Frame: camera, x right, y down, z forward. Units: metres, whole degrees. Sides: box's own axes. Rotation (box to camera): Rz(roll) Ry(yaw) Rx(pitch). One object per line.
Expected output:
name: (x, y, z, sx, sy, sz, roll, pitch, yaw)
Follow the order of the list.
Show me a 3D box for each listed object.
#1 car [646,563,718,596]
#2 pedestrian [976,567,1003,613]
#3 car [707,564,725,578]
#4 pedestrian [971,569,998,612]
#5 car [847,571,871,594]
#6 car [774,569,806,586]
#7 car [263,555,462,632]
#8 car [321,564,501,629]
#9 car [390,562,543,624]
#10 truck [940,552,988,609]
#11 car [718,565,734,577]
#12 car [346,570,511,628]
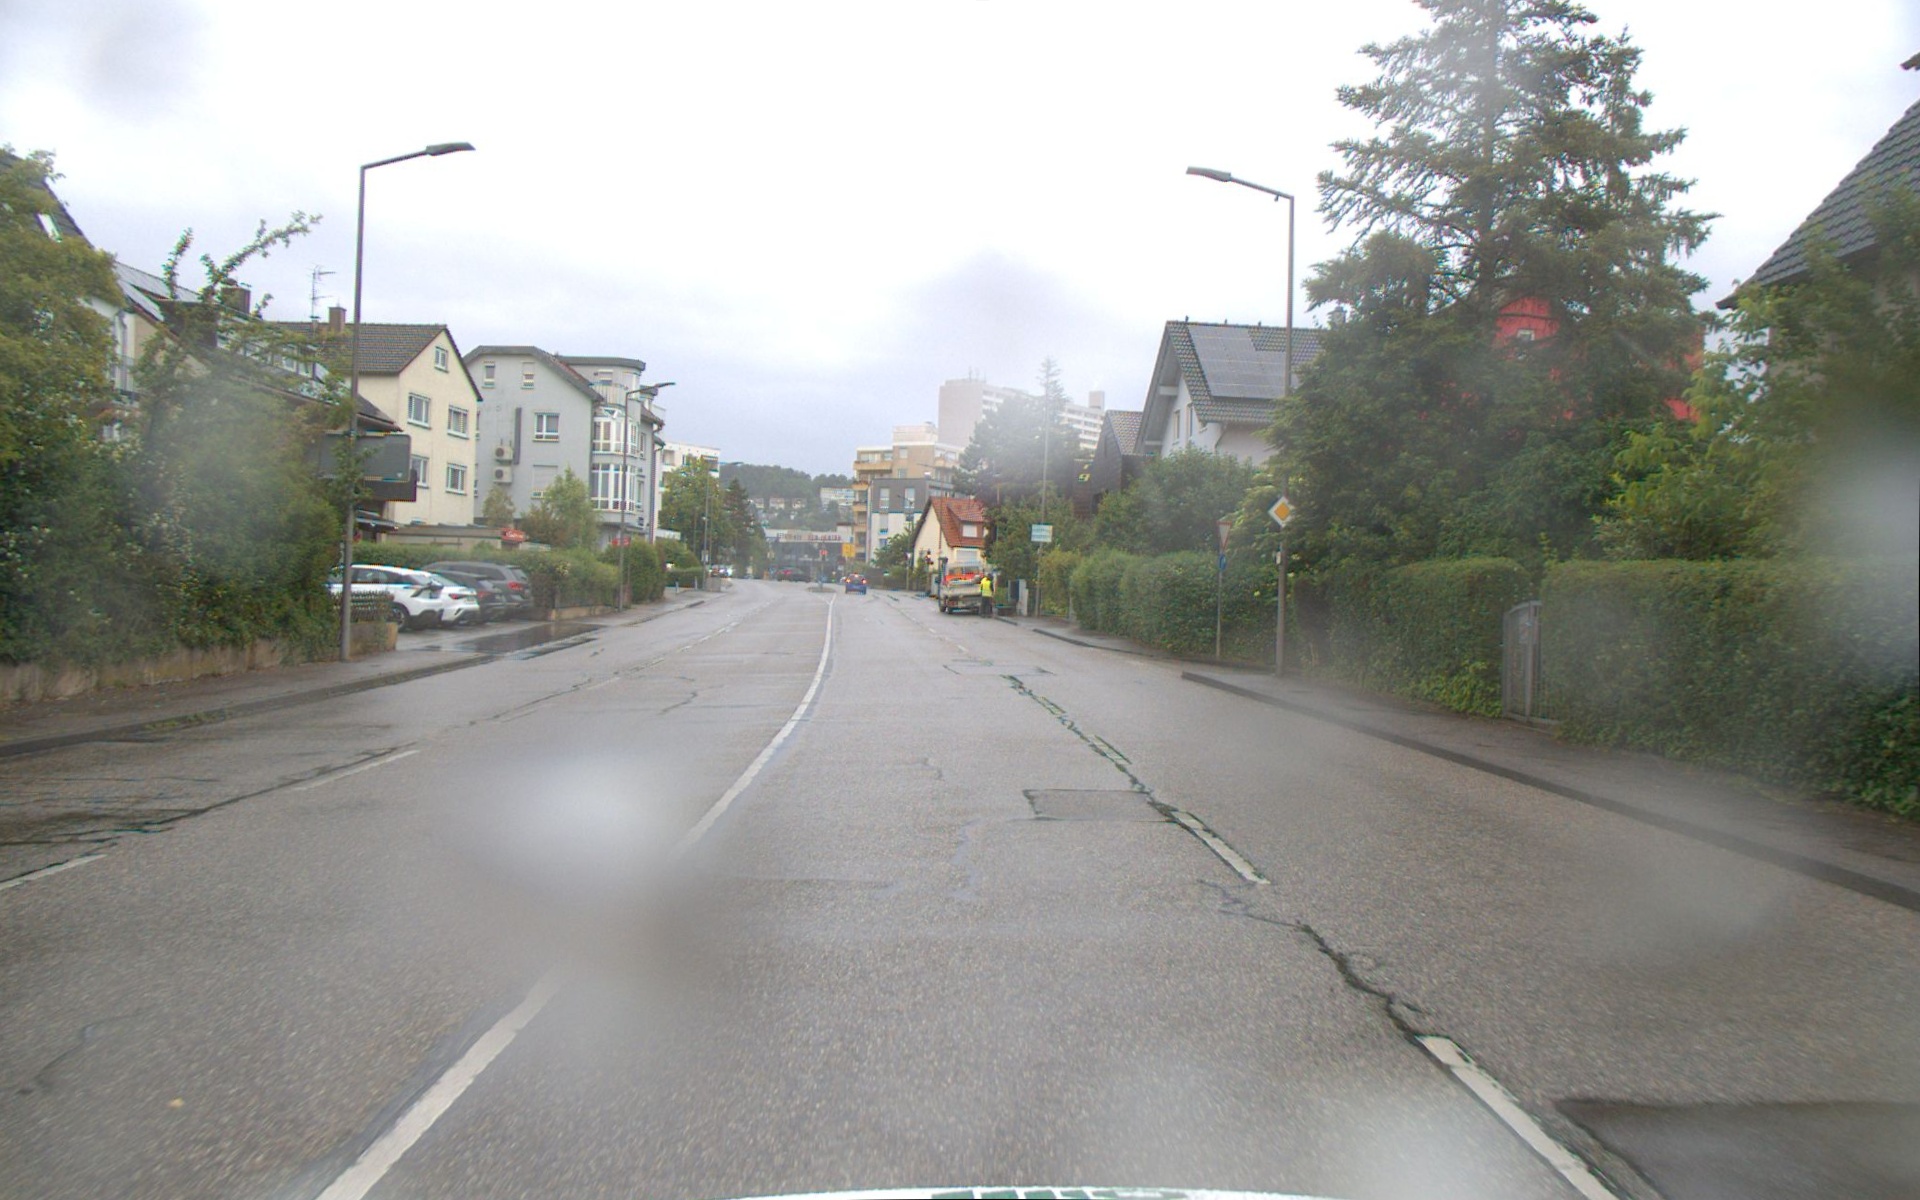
car: (-19.316, -1.432, 114.863, 4.426, 2.048, 2.002, 3, 0, 10)
pedestrian: (1.189, -0.418, 66.886, 0.811, 1.828, 0.795, 1, 0, -22)
car: (-26.953, -3.205, 183.057, 1.627, 1.488, 3.997, 1, 0, -4)
pedestrian: (1.001, -0.388, 67.818, 0.811, 1.756, 0.836, 1, 0, -21)
car: (-7.718, -1.350, 126.697, 1.758, 1.699, 3.998, 1, 0, -2)
car: (-17.903, -2.350, 174.513, 1.548, 1.462, 3.998, 5, -1, 23)
car: (-14.431, -0.146, 40.101, 4.014, 1.612, 1.957, 3, 0, 1)
car: (-14.174, -0.100, 42.830, 3.904, 1.459, 1.972, 3, 0, 2)
car: (-14.514, -0.204, 48.787, 3.903, 1.716, 1.810, 1, 0, 5)
truck: (0.161, -0.856, 71.515, 1.953, 2.343, 4.000, 1, 1, 0)
car: (-26.957, -3.306, 190.826, 1.409, 1.256, 3.997, 3, 1, -4)
car: (-14.476, -0.028, 45.190, 3.903, 1.471, 1.706, 1, 0, 3)
